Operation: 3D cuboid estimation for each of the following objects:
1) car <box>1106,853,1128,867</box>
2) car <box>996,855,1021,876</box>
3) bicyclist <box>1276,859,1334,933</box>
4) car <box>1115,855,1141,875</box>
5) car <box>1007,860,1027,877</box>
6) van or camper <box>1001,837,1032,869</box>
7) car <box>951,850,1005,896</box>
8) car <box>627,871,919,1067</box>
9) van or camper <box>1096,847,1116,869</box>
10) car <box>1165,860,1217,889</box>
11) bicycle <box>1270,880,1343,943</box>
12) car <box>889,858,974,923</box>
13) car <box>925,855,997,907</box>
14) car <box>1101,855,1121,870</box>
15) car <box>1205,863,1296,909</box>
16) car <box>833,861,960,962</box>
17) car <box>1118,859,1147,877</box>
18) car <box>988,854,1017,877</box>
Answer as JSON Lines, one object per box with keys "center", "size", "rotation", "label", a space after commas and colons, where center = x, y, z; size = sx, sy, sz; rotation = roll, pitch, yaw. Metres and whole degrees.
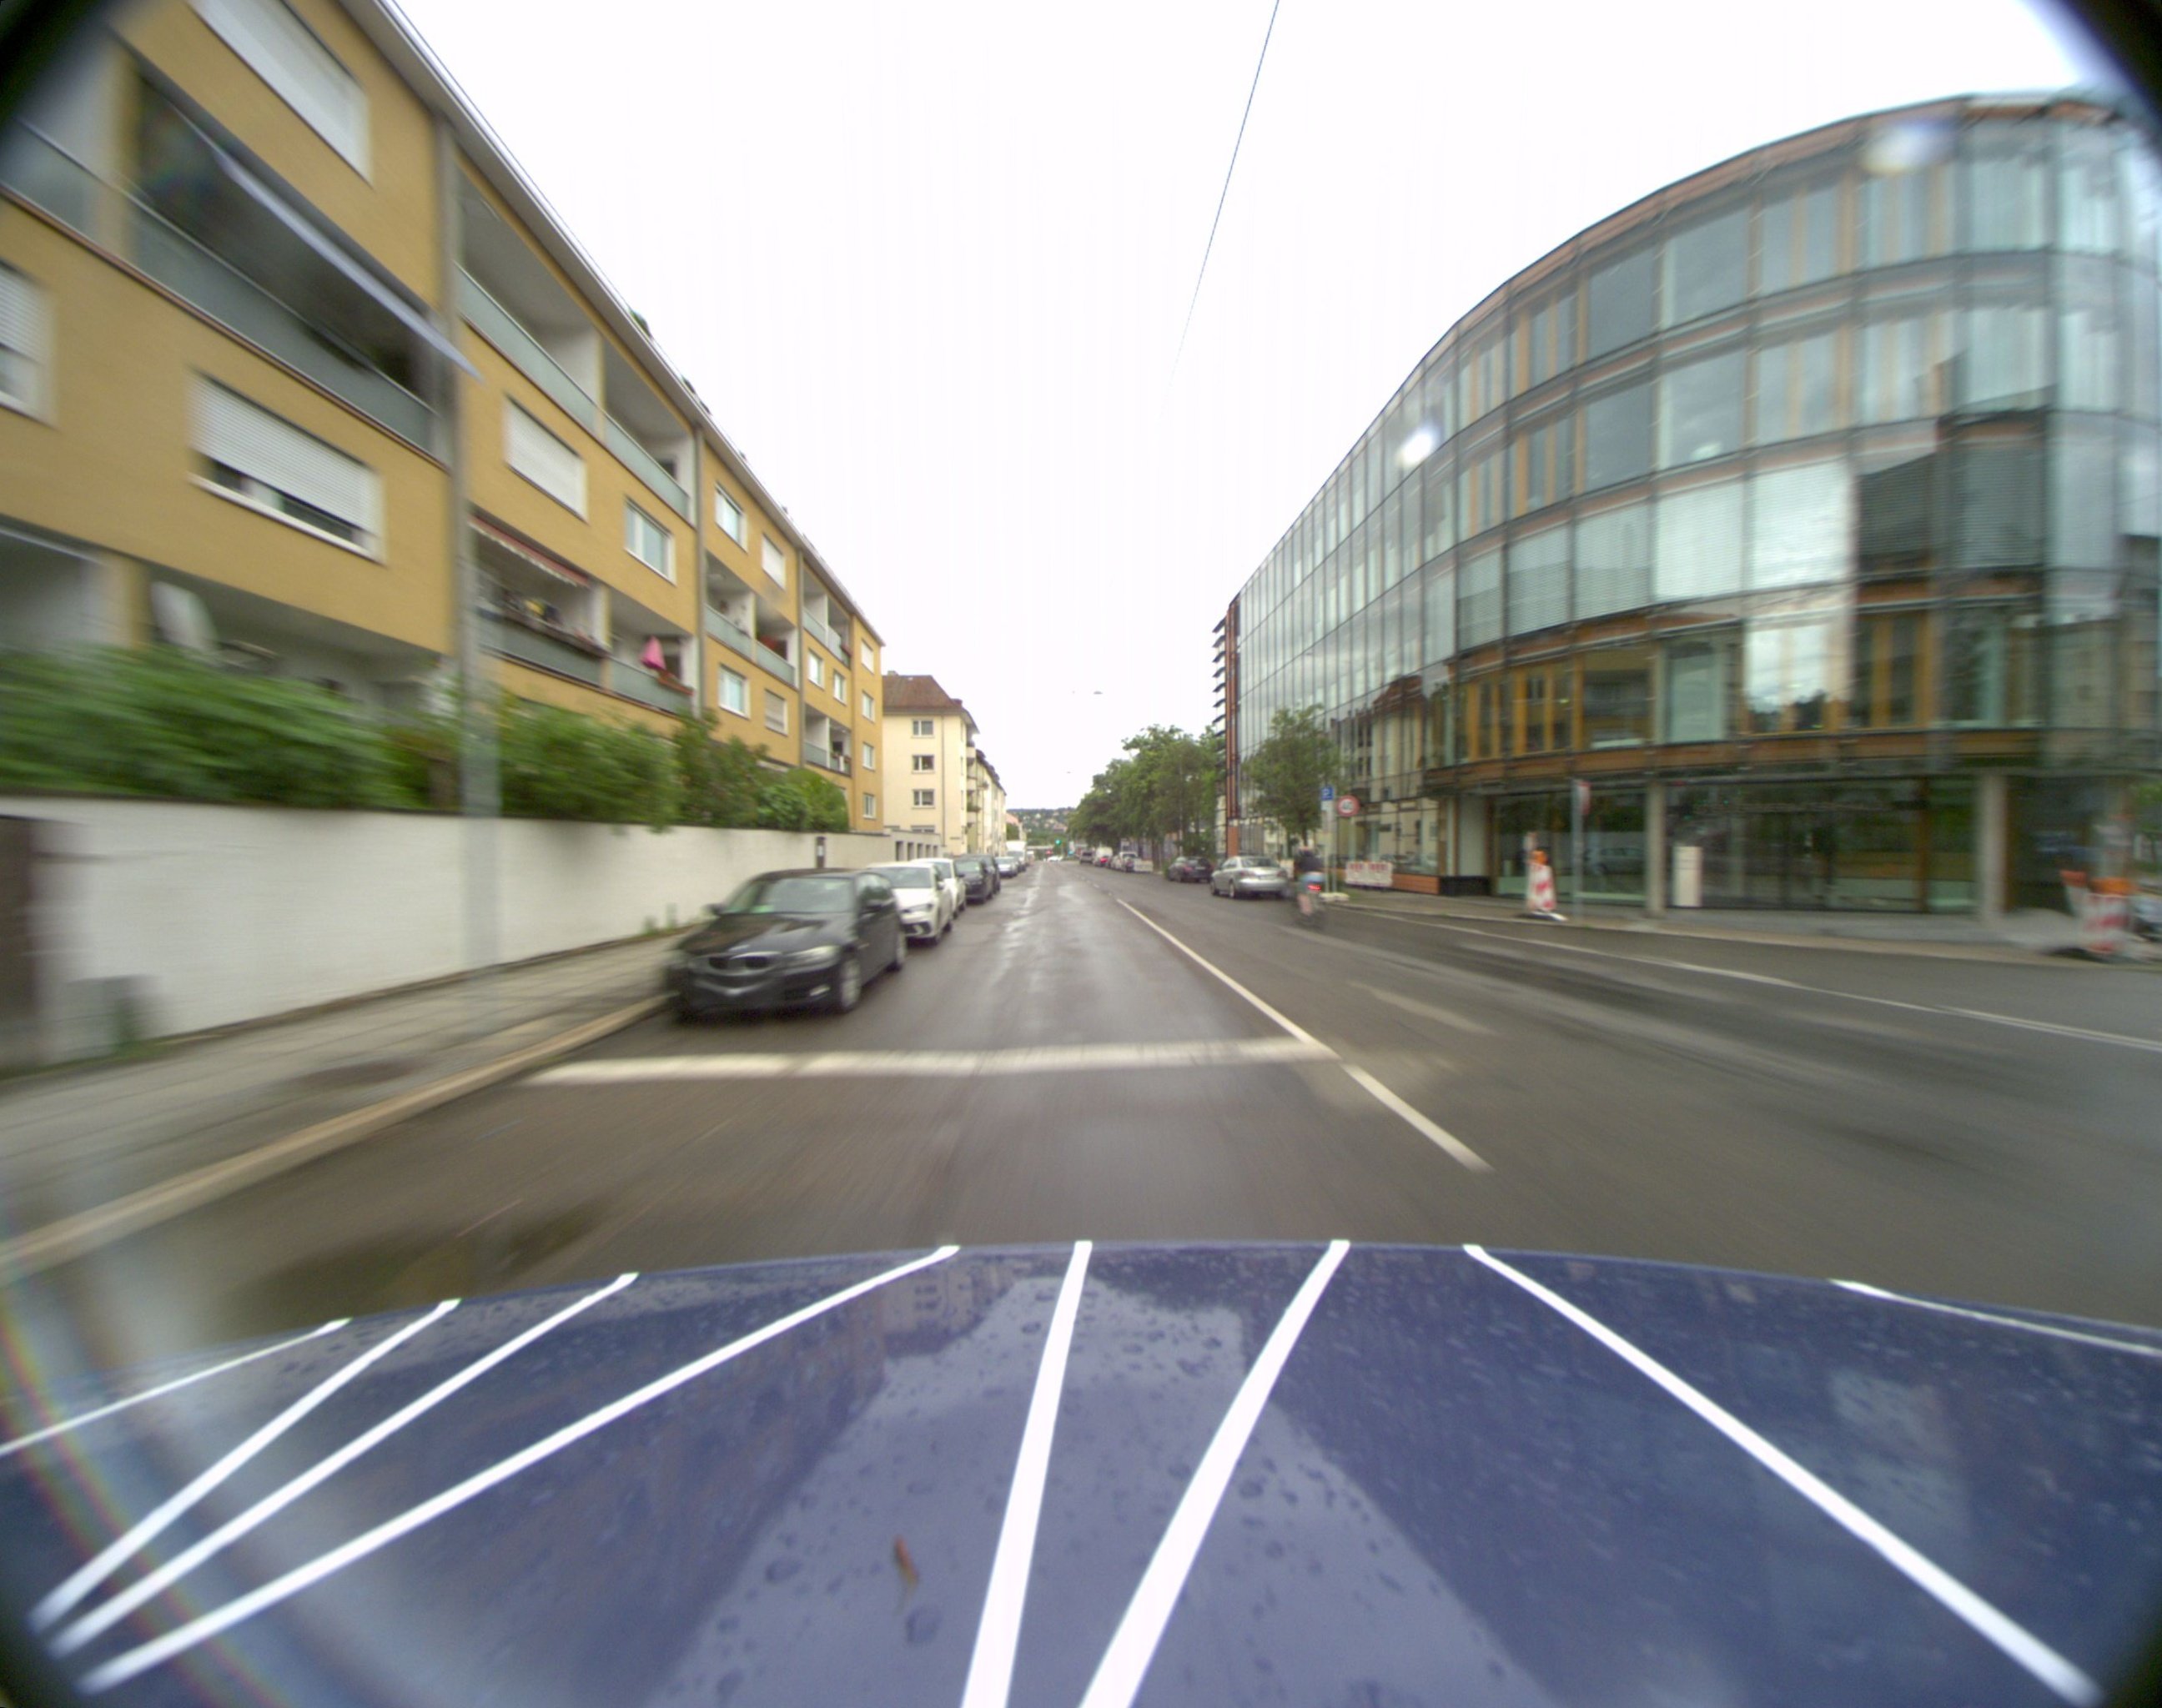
{"center": [3.916, 0.649, 82.230], "size": [1.881, 1.456, 3.516], "rotation": [-1, 1, -5], "label": "car"}
{"center": [-5.433, 0.870, 57.295], "size": [1.741, 1.370, 3.968], "rotation": [-1, 2, -3], "label": "car"}
{"center": [4.705, 0.851, 16.031], "size": [0.826, 1.453, 1.139], "rotation": [-2, 2, -2], "label": "bicyclist"}
{"center": [4.397, 0.970, 71.351], "size": [1.881, 1.700, 3.997], "rotation": [-1, 1, -5], "label": "car"}
{"center": [-5.858, 1.325, 69.689], "size": [1.741, 1.423, 3.503], "rotation": [-1, 1, -3], "label": "car"}
{"center": [-6.525, -0.212, 77.468], "size": [2.754, 3.041, 7.027], "rotation": [-1, 2, -2], "label": "van or camper"}
{"center": [-4.165, 0.713, 31.419], "size": [1.806, 1.637, 4.573], "rotation": [-1, 2, -3], "label": "car"}
{"center": [-3.150, 1.049, 8.862], "size": [1.735, 1.451, 4.475], "rotation": [-2, 2, -3], "label": "car"}
{"center": [3.177, 0.506, 97.753], "size": [2.144, 2.588, 5.547], "rotation": [-2, 2, -2], "label": "van or camper"}
{"center": [5.976, 1.071, 41.778], "size": [1.728, 1.455, 4.328], "rotation": [0, 0, -7], "label": "car"}
{"center": [4.716, 1.171, 16.053], "size": [0.826, 1.142, 2.126], "rotation": [-1, 0, -2], "label": "bicycle"}
{"center": [-3.873, 0.895, 20.226], "size": [1.691, 1.445, 3.552], "rotation": [-2, 2, -3], "label": "car"}
{"center": [-3.916, 0.836, 25.493], "size": [1.916, 1.418, 4.449], "rotation": [-2, 1, -3], "label": "car"}
{"center": [3.549, 1.006, 91.778], "size": [1.999, 1.566, 3.998], "rotation": [-2, 2, -3], "label": "car"}
{"center": [5.767, 1.046, 26.395], "size": [1.863, 1.386, 4.643], "rotation": [0, 0, -4], "label": "car"}
{"center": [-3.285, 0.940, 14.272], "size": [1.652, 1.451, 4.099], "rotation": [-2, 2, -5], "label": "car"}
{"center": [4.415, 1.190, 66.003], "size": [1.881, 1.390, 3.997], "rotation": [-1, 1, -5], "label": "car"}
{"center": [-5.315, 0.753, 51.827], "size": [1.741, 1.370, 3.836], "rotation": [-1, 2, -3], "label": "car"}
